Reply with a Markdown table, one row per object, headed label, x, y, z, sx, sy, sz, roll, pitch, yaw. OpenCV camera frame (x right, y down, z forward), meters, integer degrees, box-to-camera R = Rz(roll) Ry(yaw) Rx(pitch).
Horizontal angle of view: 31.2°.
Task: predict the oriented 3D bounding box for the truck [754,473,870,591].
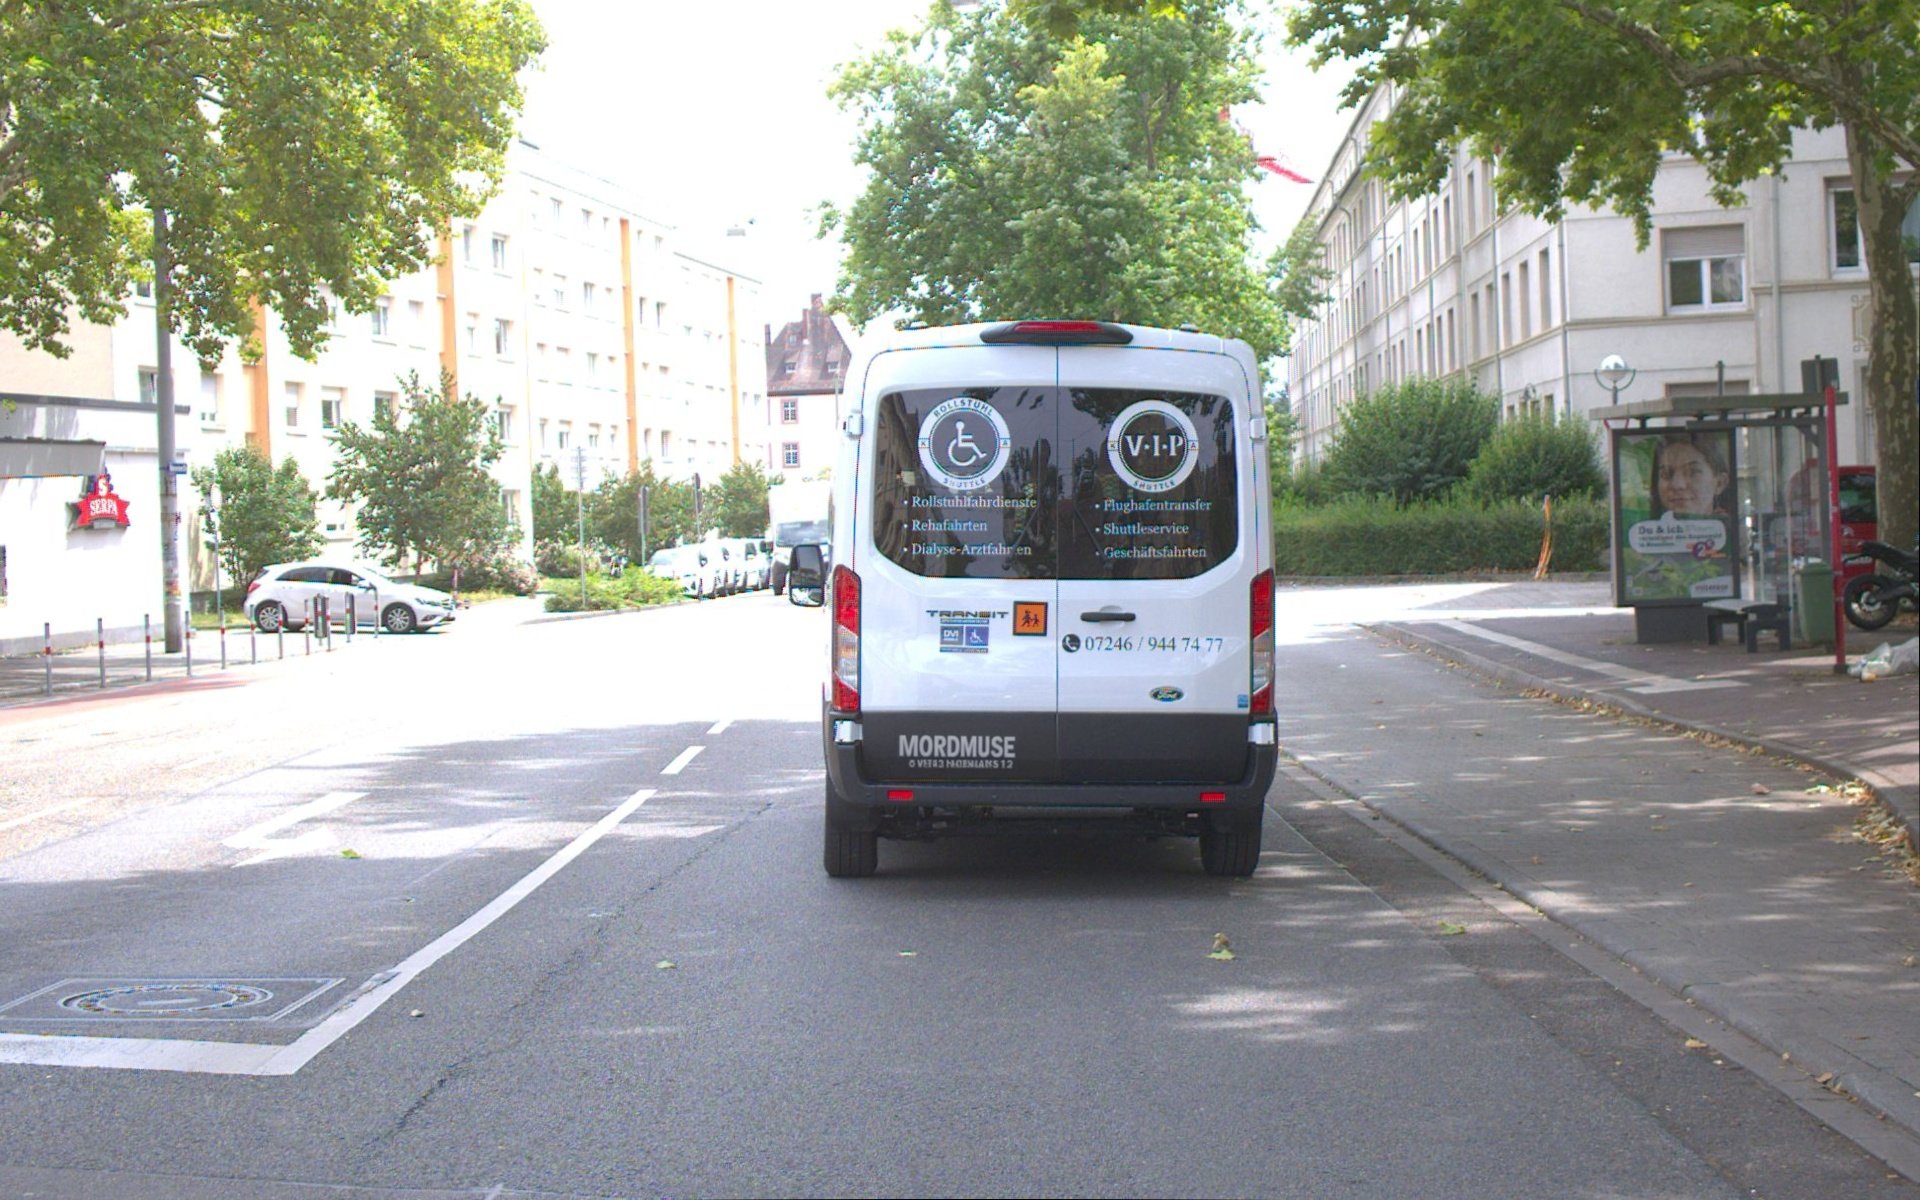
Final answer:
| label | x | y | z | sx | sy | sz | roll | pitch | yaw |
| --- | --- | --- | --- | --- | --- | --- | --- | --- | --- |
| truck | -4.187 | -1.958 | 98.482 | 2.541 | 3.097 | 7.020 | -4 | 1 | 2 |

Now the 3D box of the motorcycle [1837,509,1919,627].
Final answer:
| label | x | y | z | sx | sy | sz | roll | pitch | yaw |
| --- | --- | --- | --- | --- | --- | --- | --- | --- | --- |
| motorcycle | 10.433 | -0.366 | 36.920 | 1.854 | 1.218 | 0.531 | -2 | 2 | -3 |

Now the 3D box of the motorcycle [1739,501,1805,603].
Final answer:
| label | x | y | z | sx | sy | sz | roll | pitch | yaw |
| --- | --- | --- | --- | --- | --- | --- | --- | --- | --- |
| motorcycle | 12.486 | -0.756 | 52.935 | 0.832 | 1.457 | 2.305 | -2 | 2 | 11 |

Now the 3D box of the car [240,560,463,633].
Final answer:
| label | x | y | z | sx | sy | sz | roll | pitch | yaw |
| --- | --- | --- | --- | --- | --- | --- | --- | --- | --- |
| car | -12.519 | -0.078 | 70.870 | 4.172 | 1.446 | 1.849 | 1 | 0 | 4 |

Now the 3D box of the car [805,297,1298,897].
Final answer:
| label | x | y | z | sx | sy | sz | roll | pitch | yaw |
| --- | --- | --- | --- | --- | --- | --- | --- | --- | --- |
| car | 0.449 | -0.053 | 16.945 | 2.070 | 2.531 | 4.635 | 1 | 1 | 2 |

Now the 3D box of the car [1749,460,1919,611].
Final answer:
| label | x | y | z | sx | sy | sz | roll | pitch | yaw |
| --- | --- | --- | --- | --- | --- | --- | --- | --- | --- |
| car | 10.896 | -0.804 | 42.106 | 1.934 | 1.700 | 4.327 | -2 | 1 | 19 |
